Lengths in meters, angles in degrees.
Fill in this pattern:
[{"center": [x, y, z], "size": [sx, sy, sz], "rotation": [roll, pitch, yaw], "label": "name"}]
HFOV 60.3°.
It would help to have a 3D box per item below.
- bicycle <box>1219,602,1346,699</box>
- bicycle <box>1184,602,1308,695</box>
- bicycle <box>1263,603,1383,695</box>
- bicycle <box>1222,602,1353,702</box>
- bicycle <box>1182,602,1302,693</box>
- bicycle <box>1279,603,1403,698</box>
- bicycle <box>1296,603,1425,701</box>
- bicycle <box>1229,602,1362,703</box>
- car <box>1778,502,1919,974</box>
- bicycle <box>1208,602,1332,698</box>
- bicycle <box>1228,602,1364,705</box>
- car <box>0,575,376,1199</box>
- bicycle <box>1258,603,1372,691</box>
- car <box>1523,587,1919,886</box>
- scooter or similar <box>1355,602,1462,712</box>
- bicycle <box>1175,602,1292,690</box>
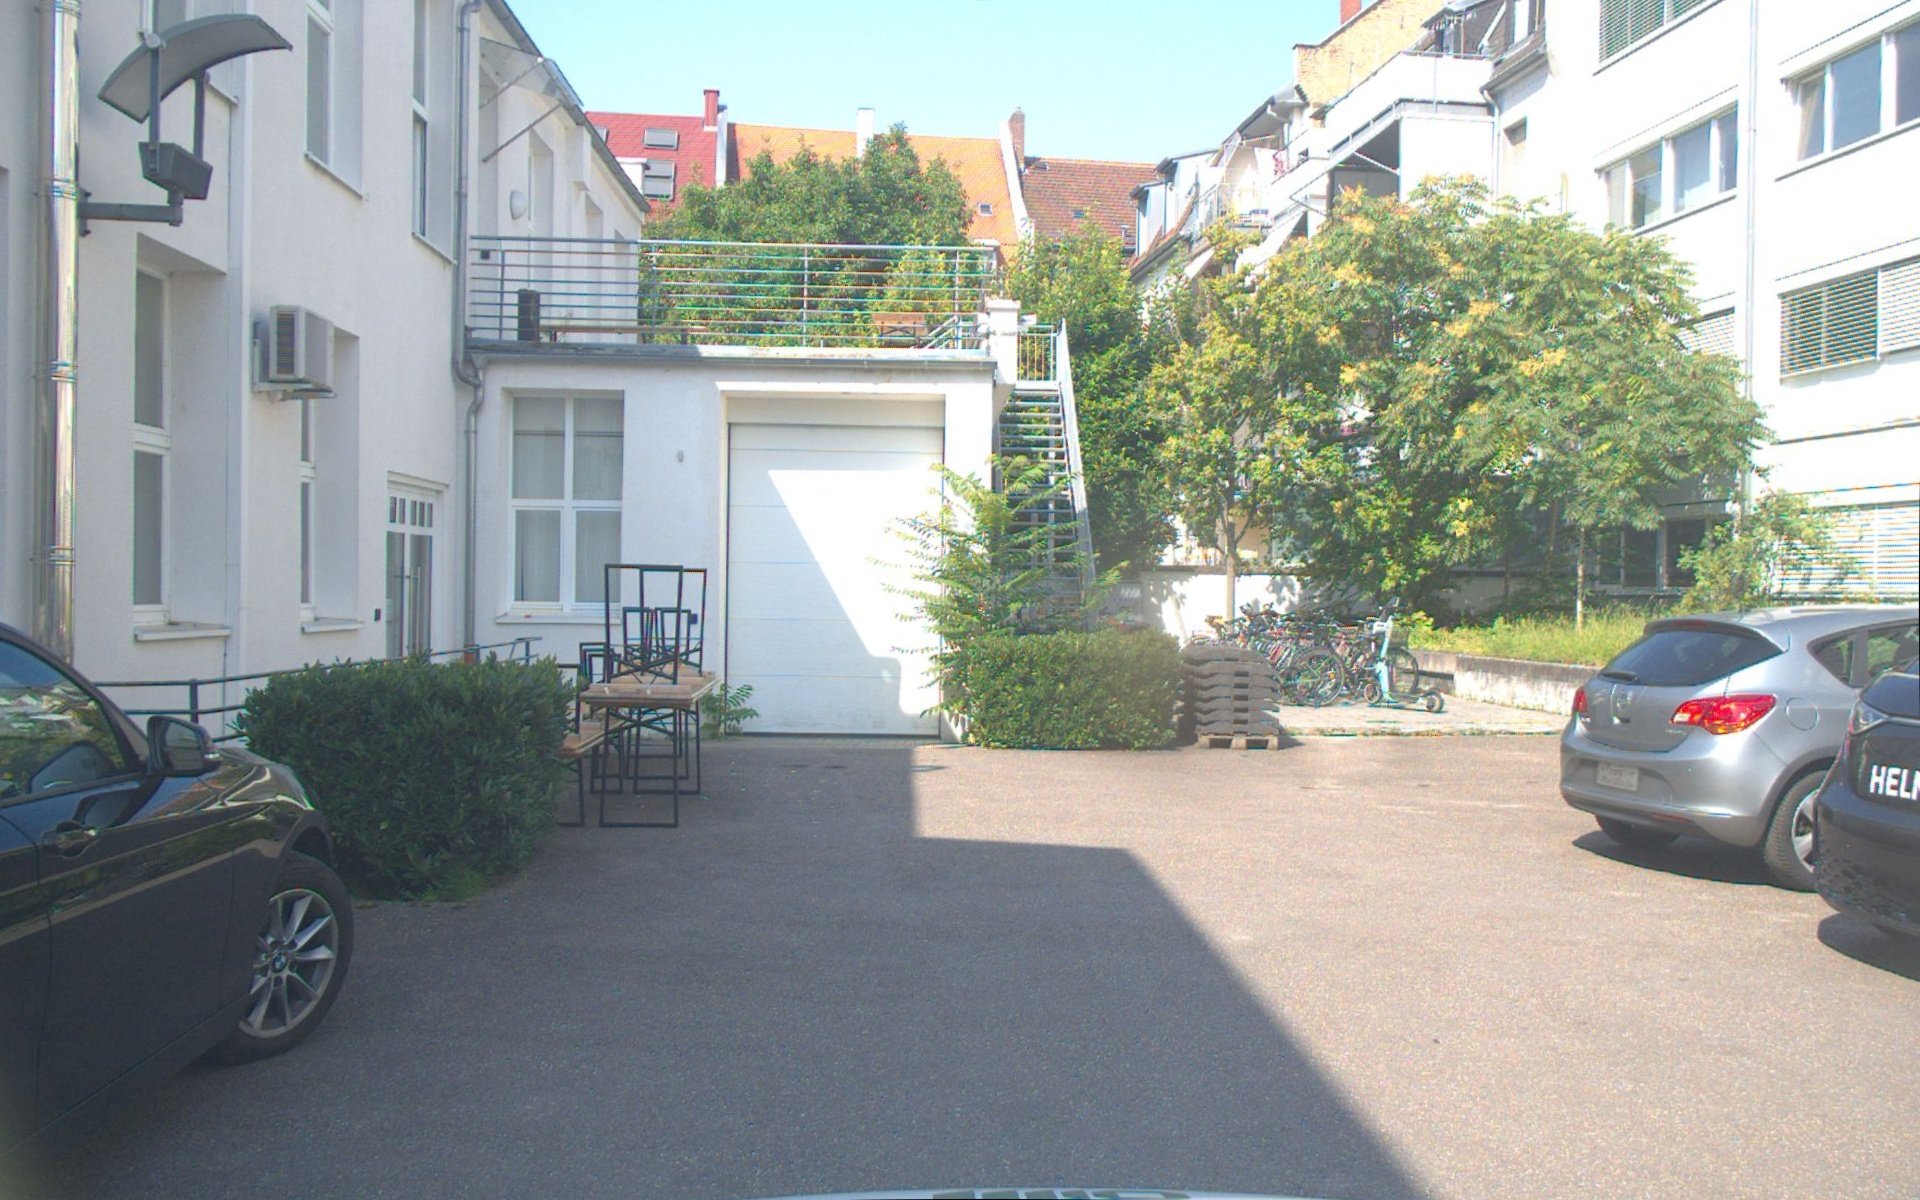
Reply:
[{"center": [4.145, 0.648, 21.300], "size": [1.588, 1.235, 0.327], "rotation": [0, 0, 8], "label": "bicycle"}, {"center": [3.852, 0.646, 22.331], "size": [1.590, 1.235, 0.424], "rotation": [0, 0, -3], "label": "bicycle"}, {"center": [4.968, 0.665, 22.667], "size": [1.588, 1.235, 0.424], "rotation": [0, 0, 10], "label": "bicycle"}, {"center": [4.124, 0.647, 20.848], "size": [1.590, 1.235, 0.327], "rotation": [0, 0, -1], "label": "bicycle"}, {"center": [3.915, 0.648, 22.968], "size": [1.592, 1.235, 0.423], "rotation": [0, 0, -8], "label": "bicycle"}, {"center": [5.079, 0.665, 22.095], "size": [1.588, 1.235, 0.424], "rotation": [0, 0, 11], "label": "bicycle"}, {"center": [5.131, 0.664, 21.235], "size": [1.588, 1.235, 0.327], "rotation": [0, 0, 13], "label": "bicycle"}, {"center": [4.162, 0.647, 20.556], "size": [1.590, 1.235, 0.327], "rotation": [0, 0, -1], "label": "bicycle"}, {"center": [5.903, 0.536, 6.717], "size": [4.420, 1.826, 1.878], "rotation": [0, -1, -11], "label": "car"}, {"center": [4.057, 0.647, 21.661], "size": [1.588, 1.235, 0.327], "rotation": [0, 0, 11], "label": "bicycle"}, {"center": [4.107, 0.645, 20.232], "size": [1.590, 1.235, 0.327], "rotation": [0, 0, -1], "label": "bicycle"}, {"center": [-2.588, 0.683, 3.265], "size": [1.655, 1.484, 3.920], "rotation": [1, 0, -3], "label": "car"}, {"center": [5.076, 0.668, 23.697], "size": [1.588, 1.235, 0.424], "rotation": [0, 0, 10], "label": "bicycle"}, {"center": [5.485, 0.697, 9.587], "size": [3.862, 1.508, 1.770], "rotation": [0, -1, -11], "label": "car"}, {"center": [5.419, 0.672, 20.034], "size": [0.375, 1.283, 1.333], "rotation": [0, 0, -33], "label": "scooter or similar"}, {"center": [3.891, 0.649, 23.570], "size": [1.592, 1.235, 0.423], "rotation": [0, 0, -7], "label": "bicycle"}]
